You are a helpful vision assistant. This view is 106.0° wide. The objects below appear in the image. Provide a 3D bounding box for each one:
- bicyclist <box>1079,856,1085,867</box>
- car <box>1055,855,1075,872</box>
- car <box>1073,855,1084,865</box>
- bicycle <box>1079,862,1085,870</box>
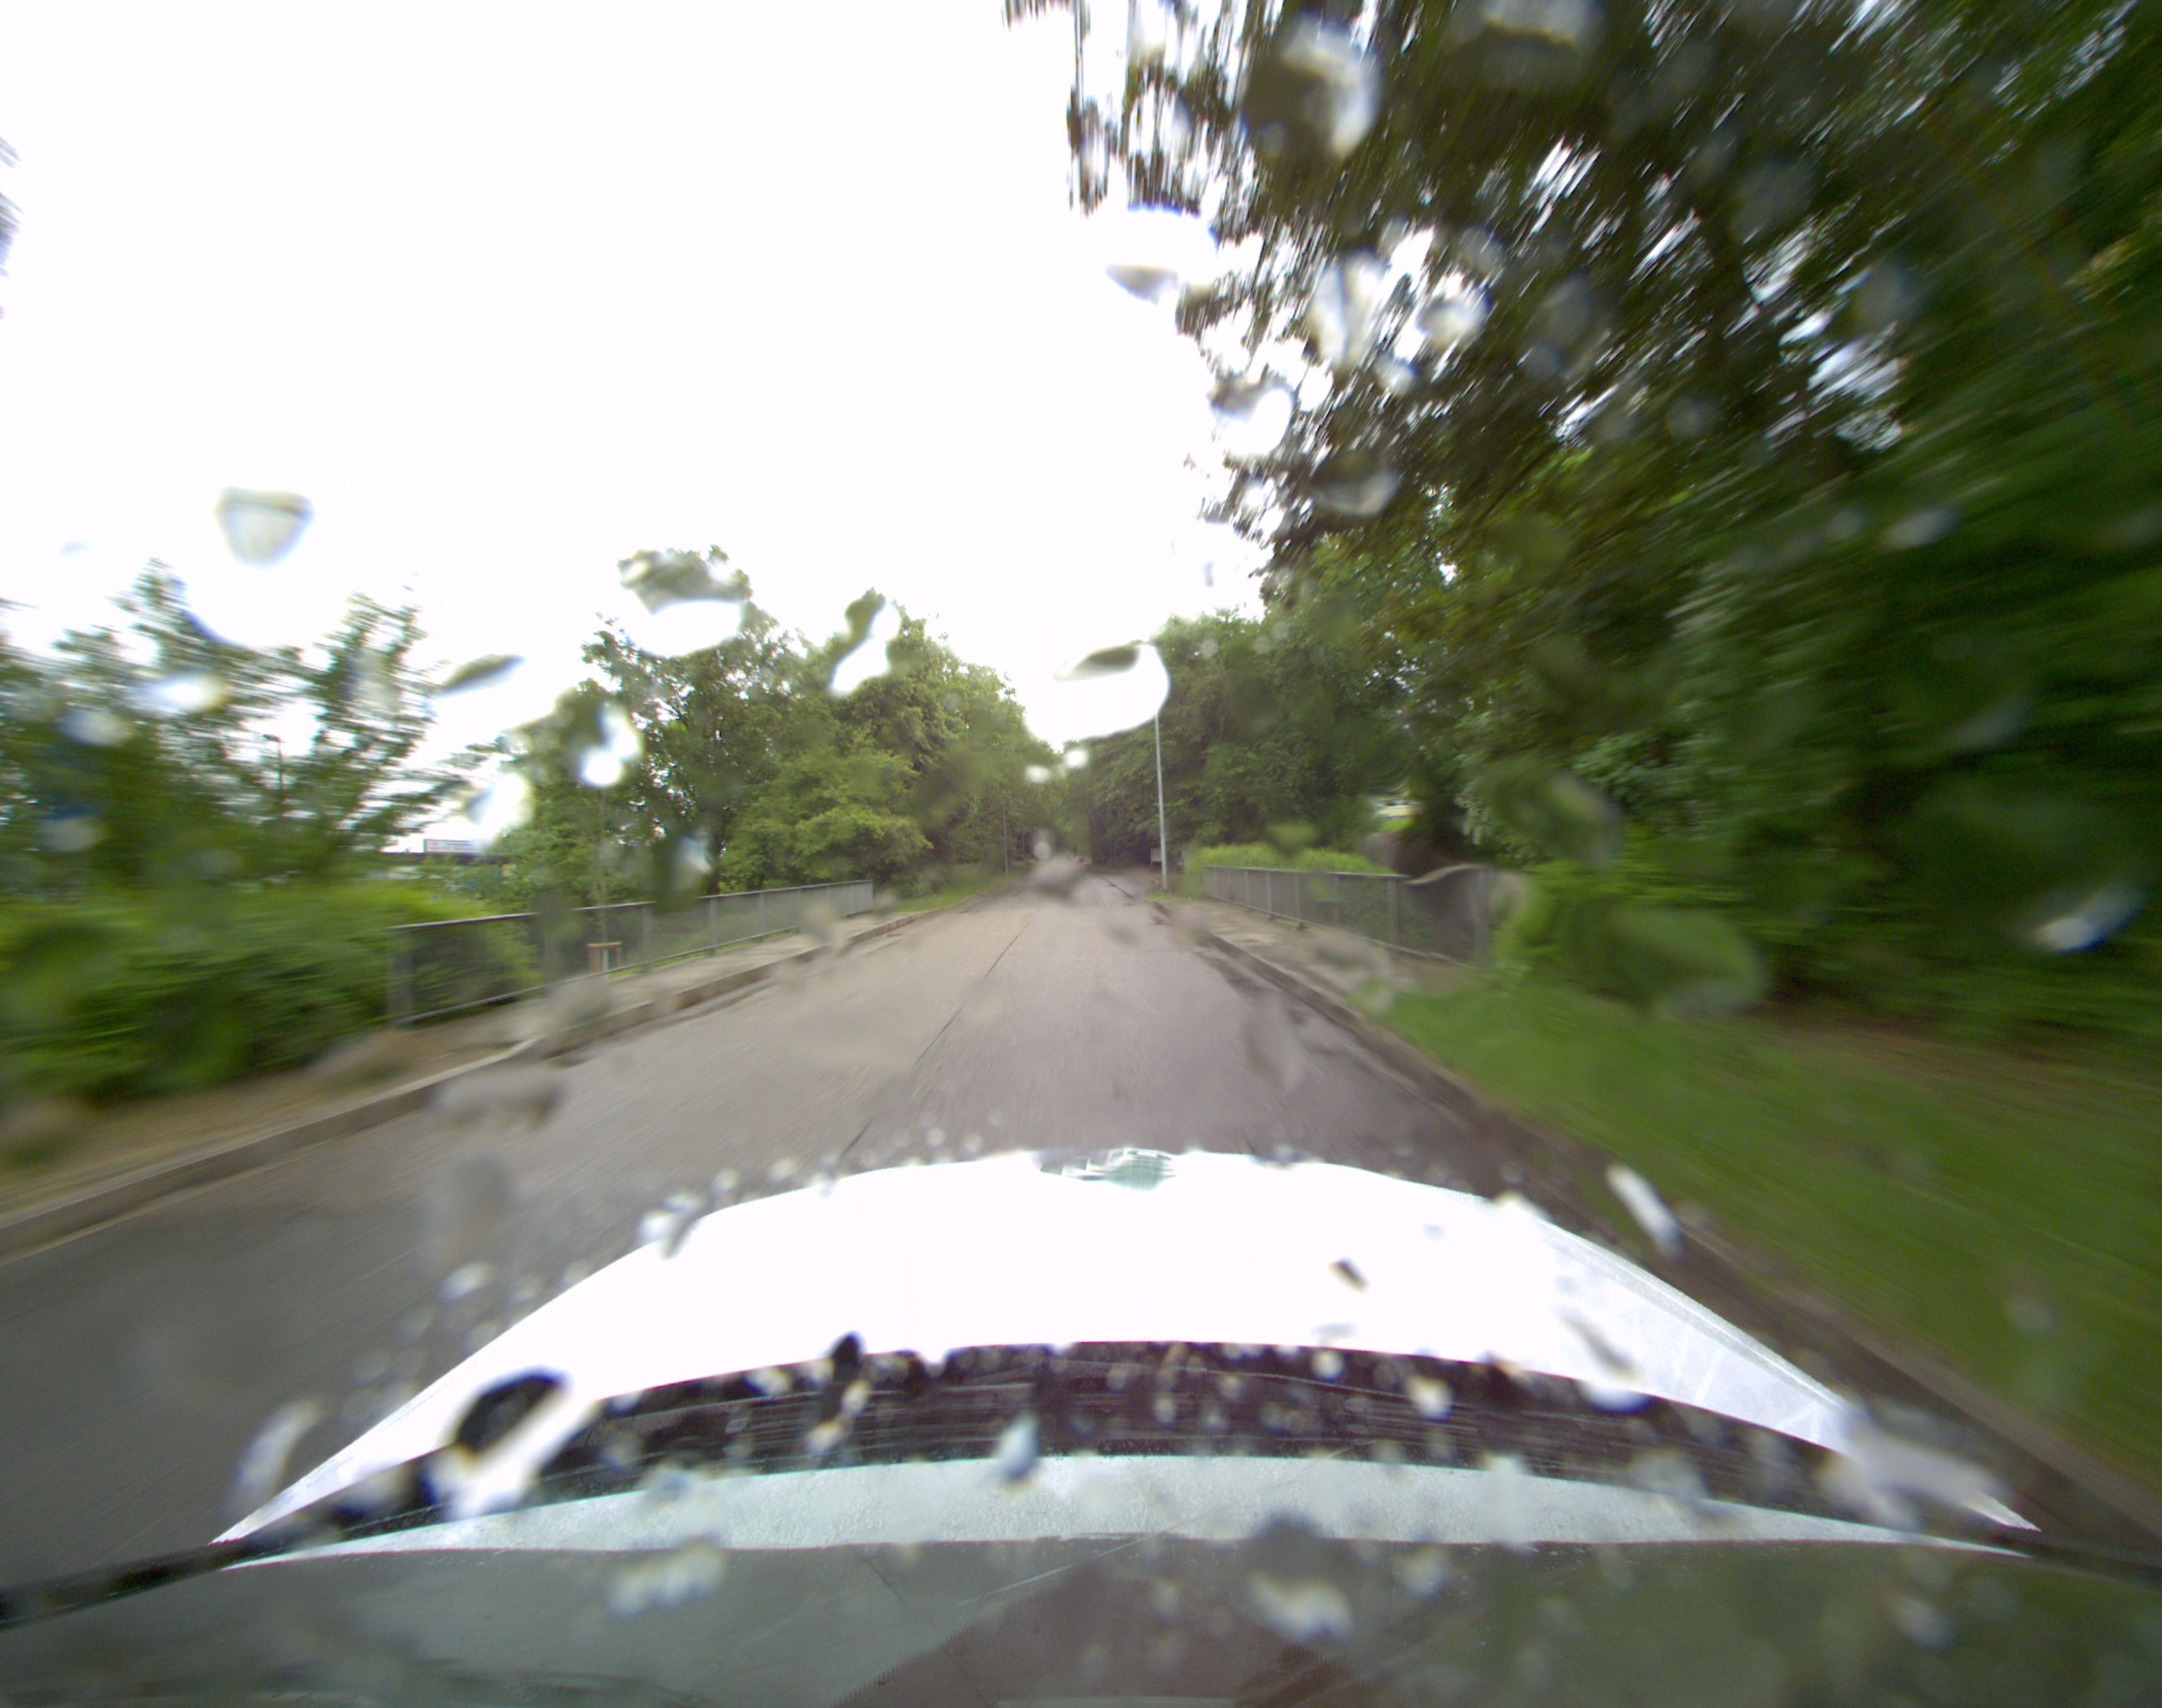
[{"bbox_3d":[0.113,0.925,101.699,0.727,1.411,0.973,-1,0,2],"label":"bicyclist"},{"bbox_3d":[-1.915,1.112,95.778,1.982,1.926,3.992,-2,0,-5],"label":"car"},{"bbox_3d":[-0.495,1.185,159.604,1.990,1.816,3.994,-1,-1,-4],"label":"car"},{"bbox_3d":[0.127,1.485,101.723,0.727,0.974,2.174,-1,0,2],"label":"bicycle"}]
